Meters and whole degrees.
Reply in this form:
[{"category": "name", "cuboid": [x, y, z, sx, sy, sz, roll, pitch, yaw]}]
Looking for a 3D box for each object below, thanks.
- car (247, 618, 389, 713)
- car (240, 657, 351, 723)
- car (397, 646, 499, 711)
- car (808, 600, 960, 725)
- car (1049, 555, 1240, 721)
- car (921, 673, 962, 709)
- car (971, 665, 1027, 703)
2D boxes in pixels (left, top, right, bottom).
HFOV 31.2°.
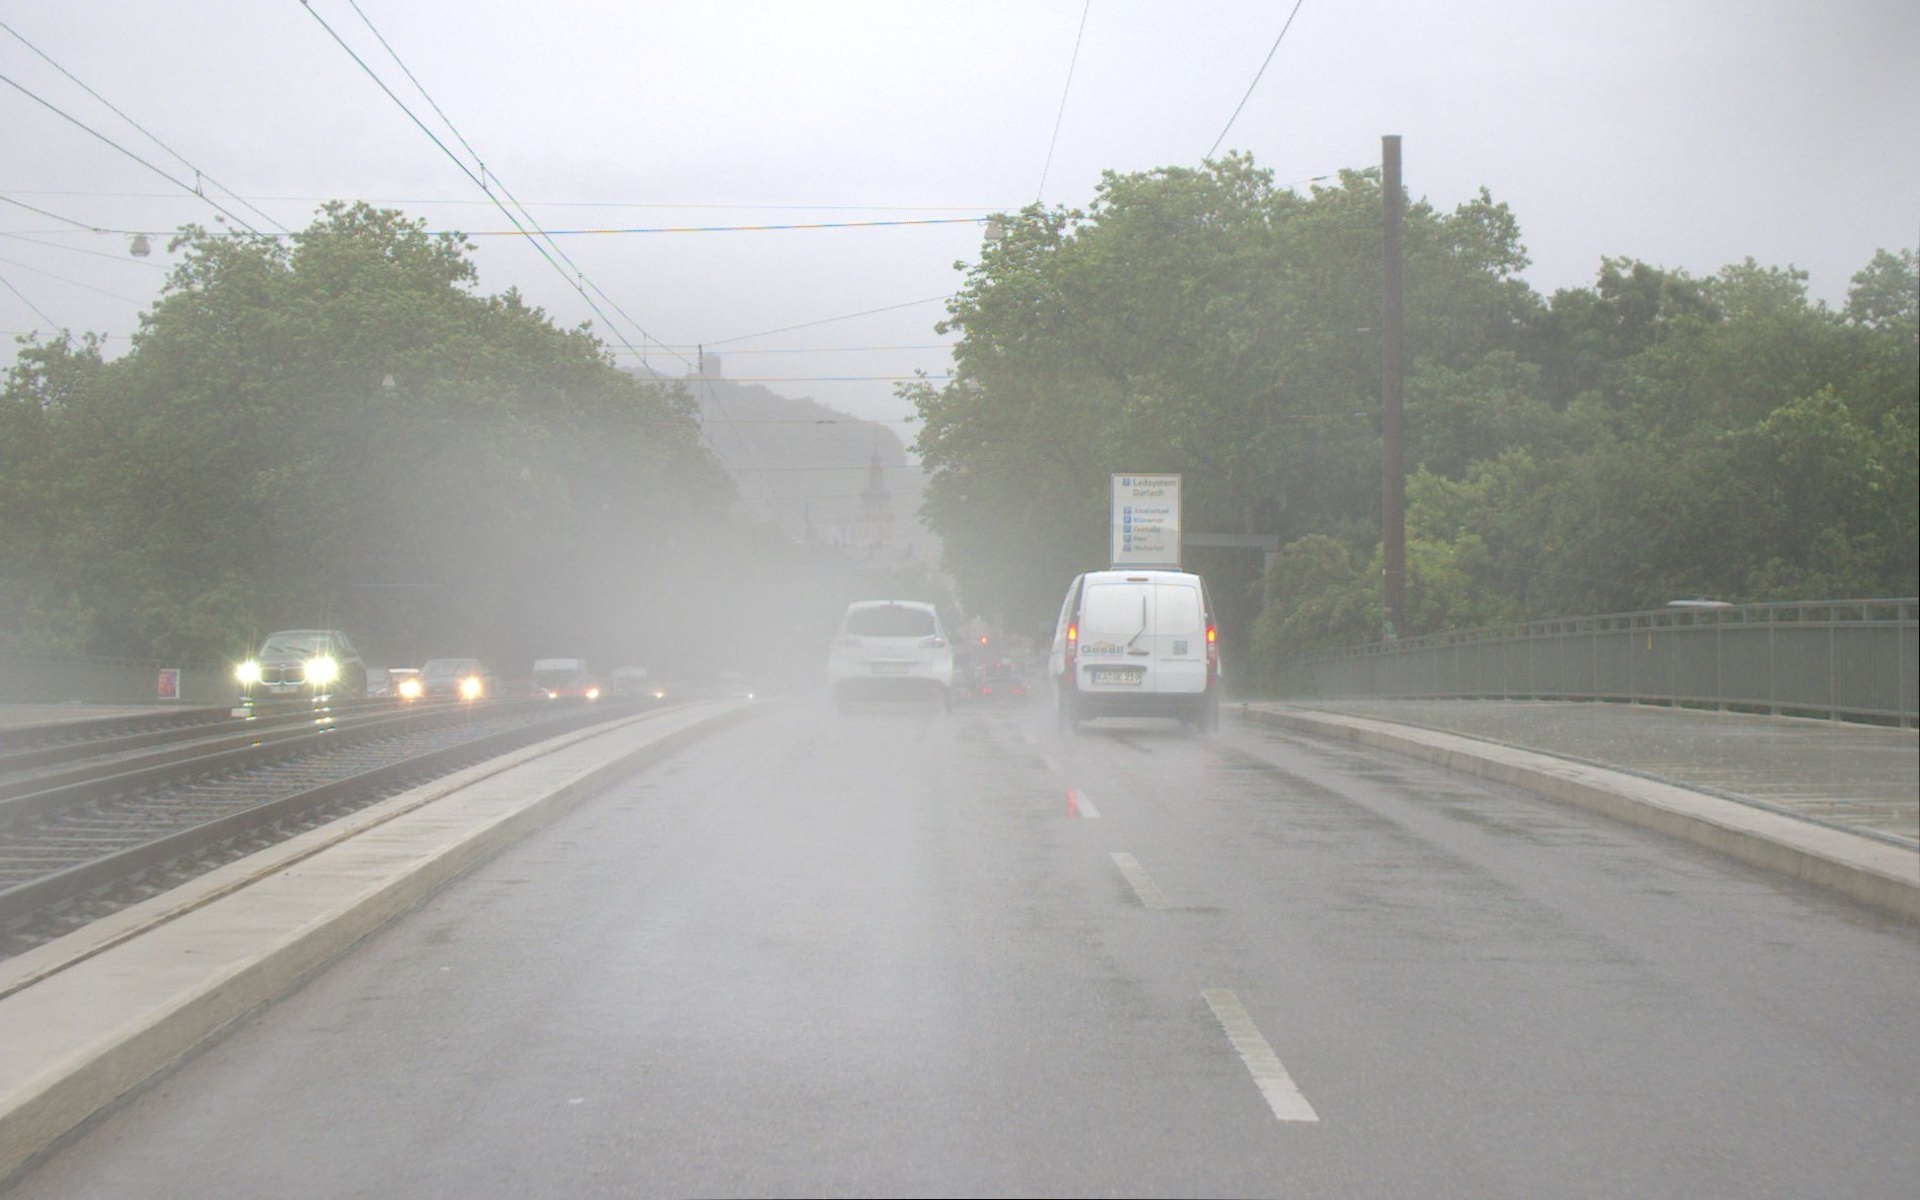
[{"category": "car", "cuboid": [-11.815, 1.192, 63.489, 1.818, 1.649, 4.000, 2, -1, 0]}, {"category": "car", "cuboid": [-15.767, 2.111, 81.730, 1.863, 1.451, 4.319, -2, -1, -1]}, {"category": "car", "cuboid": [-12.237, 1.866, 82.331, 1.799, 1.477, 4.083, 2, -1, 0]}, {"category": "car", "cuboid": [-1.077, 0.909, 50.623, 1.993, 1.711, 4.000, 2, -1, 2]}, {"category": "car", "cuboid": [2.021, 0.432, 38.690, 1.993, 1.720, 4.000, 2, -1, 2]}, {"category": "car", "cuboid": [-0.971, 4.840, 183.485, 1.993, 1.821, 4.000, 2, -1, 2]}, {"category": "car", "cuboid": [1.485, 3.115, 128.410, 1.993, 1.317, 4.000, 2, -1, 2]}]
